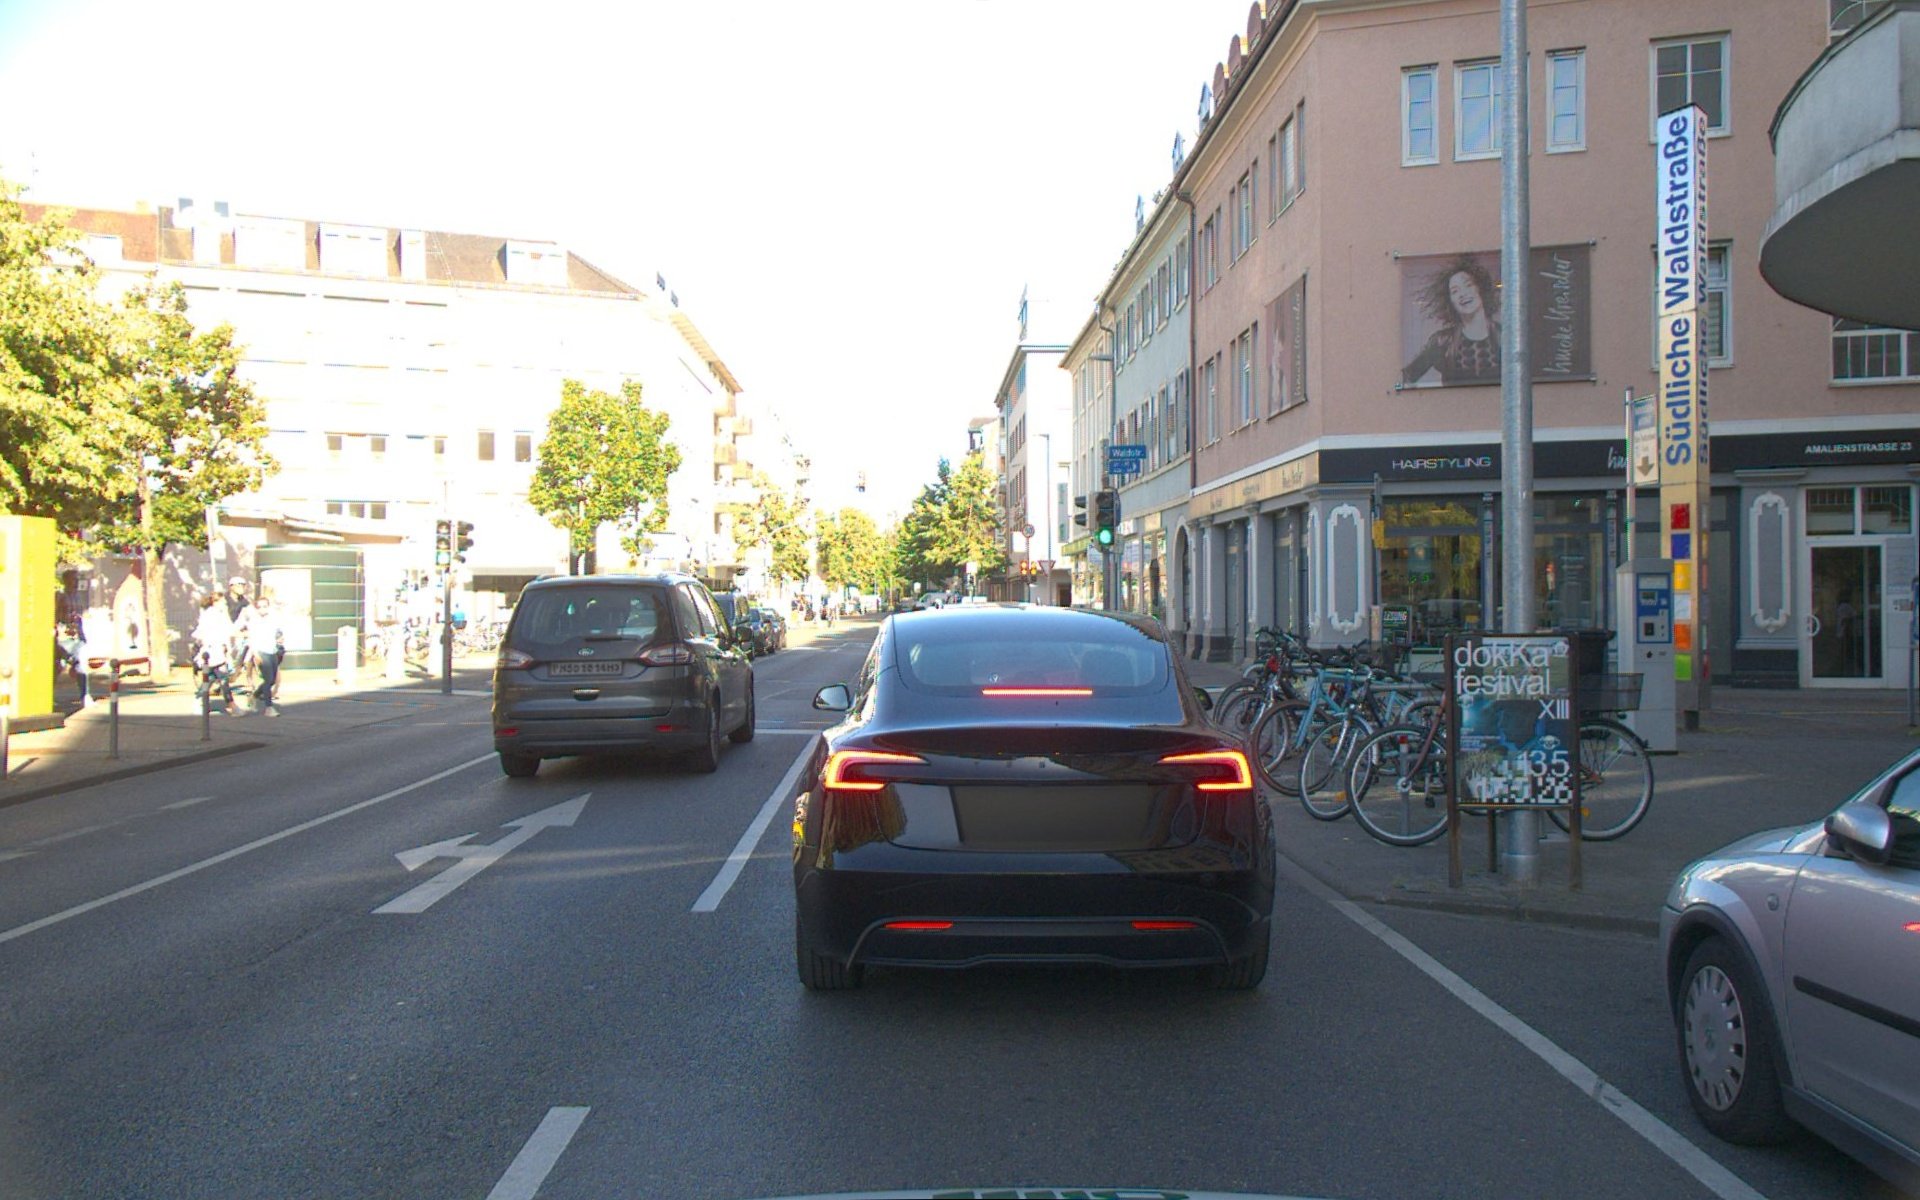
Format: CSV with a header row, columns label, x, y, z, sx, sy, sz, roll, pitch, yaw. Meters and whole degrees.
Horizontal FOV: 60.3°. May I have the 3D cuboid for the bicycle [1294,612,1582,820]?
label,x,y,z,sx,sy,sz,roll,pitch,yaw
bicycle,3.142,0.751,11.007,1.686,1.290,0.791,-2,0,5

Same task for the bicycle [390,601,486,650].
label,x,y,z,sx,sy,sz,roll,pitch,yaw
bicycle,-14.708,0.715,46.660,2.429,1.347,0.921,0,0,-6

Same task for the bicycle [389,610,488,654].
label,x,y,z,sx,sy,sz,roll,pitch,yaw
bicycle,-14.100,0.859,44.737,2.412,1.176,0.842,0,0,-2

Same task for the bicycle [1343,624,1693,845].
label,x,y,z,sx,sy,sz,roll,pitch,yaw
bicycle,3.289,0.785,9.877,1.846,1.214,0.692,-2,1,5

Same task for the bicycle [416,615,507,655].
label,x,y,z,sx,sy,sz,roll,pitch,yaw
bicycle,-14.887,1.034,49.414,2.485,1.176,0.841,0,0,-6

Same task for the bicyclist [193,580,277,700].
label,x,y,z,sx,sy,sz,roll,pitch,yaw
bicyclist,-11.560,0.618,26.378,0.930,1.870,0.788,1,0,23

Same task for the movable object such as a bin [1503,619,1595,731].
label,x,y,z,sx,sy,sz,roll,pitch,yaw
movable object such as a bin,6.026,0.756,16.951,0.718,1.111,0.627,1,-1,1

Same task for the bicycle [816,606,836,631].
label,x,y,z,sx,sy,sz,roll,pitch,yaw
bicycle,-7.695,1.044,95.250,1.089,1.368,3.997,0,0,-4

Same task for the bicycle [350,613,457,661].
label,x,y,z,sx,sy,sz,roll,pitch,yaw
bicycle,-14.187,0.938,42.203,2.455,1.176,0.842,0,0,-2

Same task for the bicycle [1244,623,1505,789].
label,x,y,z,sx,sy,sz,roll,pitch,yaw
bicycle,3.059,0.773,12.357,1.760,1.144,0.782,-2,0,5

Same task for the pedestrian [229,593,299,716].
label,x,y,z,sx,sy,sz,roll,pitch,yaw
pedestrian,-9.741,0.744,23.162,0.669,1.692,0.620,0,0,26

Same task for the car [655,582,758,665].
label,x,y,z,sx,sy,sz,roll,pitch,yaw
car,-6.359,0.551,41.955,1.797,1.877,4.674,-4,0,0

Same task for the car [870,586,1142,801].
label,x,y,z,sx,sy,sz,roll,pitch,yaw
car,0.260,0.669,13.955,1.953,1.538,4.173,0,0,-2

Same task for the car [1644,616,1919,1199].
label,x,y,z,sx,sy,sz,roll,pitch,yaw
car,2.950,0.776,3.366,1.580,1.406,3.642,1,0,0

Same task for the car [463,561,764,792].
label,x,y,z,sx,sy,sz,roll,pitch,yaw
car,-3.025,0.599,15.480,1.953,1.803,4.726,-1,0,-2

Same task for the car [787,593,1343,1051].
label,x,y,z,sx,sy,sz,roll,pitch,yaw
car,0.317,0.727,7.384,1.810,1.480,3.999,0,0,-1

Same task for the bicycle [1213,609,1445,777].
label,x,y,z,sx,sy,sz,roll,pitch,yaw
bicycle,2.991,0.743,13.535,1.709,1.289,0.781,-2,0,2

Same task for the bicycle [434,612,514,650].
label,x,y,z,sx,sy,sz,roll,pitch,yaw
bicycle,-15.210,0.962,51.837,2.279,1.176,0.841,0,0,-6

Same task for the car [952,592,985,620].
label,x,y,z,sx,sy,sz,roll,pitch,yaw
car,0.482,0.378,100.736,1.953,1.657,3.999,0,0,-1

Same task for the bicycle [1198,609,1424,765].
label,x,y,z,sx,sy,sz,roll,pitch,yaw
bicycle,3.056,0.752,14.566,1.822,1.280,0.833,-2,0,5

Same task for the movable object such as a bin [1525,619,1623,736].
label,x,y,z,sx,sy,sz,roll,pitch,yaw
movable object such as a bin,6.047,0.753,16.314,0.737,1.111,0.627,1,-1,1

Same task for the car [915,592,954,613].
label,x,y,z,sx,sy,sz,roll,pitch,yaw
car,-2.566,0.245,167.365,3.907,2.049,1.999,0,0,-2

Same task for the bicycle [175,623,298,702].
label,x,y,z,sx,sy,sz,roll,pitch,yaw
bicycle,-11.545,0.982,26.367,2.019,1.159,0.538,2,0,23

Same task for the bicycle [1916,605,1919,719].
label,x,y,z,sx,sy,sz,roll,pitch,yaw
bicycle,10.287,0.666,16.685,0.645,1.220,2.212,0,0,18

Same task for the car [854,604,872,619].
label,x,y,z,sx,sy,sz,roll,pitch,yaw
car,-10.980,1.307,186.741,1.954,1.666,3.997,0,0,-4

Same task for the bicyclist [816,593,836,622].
label,x,y,z,sx,sy,sz,roll,pitch,yaw
bicyclist,-7.711,0.418,95.343,1.104,1.657,0.964,0,0,-4

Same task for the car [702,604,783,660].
label,x,y,z,sx,sy,sz,roll,pitch,yaw
car,-6.419,0.905,49.173,1.954,1.434,4.671,-4,0,-3

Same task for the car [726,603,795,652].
label,x,y,z,sx,sy,sz,roll,pitch,yaw
car,-6.801,0.897,56.758,1.954,1.461,4.671,-4,0,-3

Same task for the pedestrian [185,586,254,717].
label,x,y,z,sx,sy,sz,roll,pitch,yaw
pedestrian,-10.088,0.686,22.544,0.537,1.758,0.673,0,0,32

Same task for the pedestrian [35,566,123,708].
label,x,y,z,sx,sy,sz,roll,pitch,yaw
pedestrian,-12.617,0.516,23.693,0.811,1.989,0.710,1,0,11
